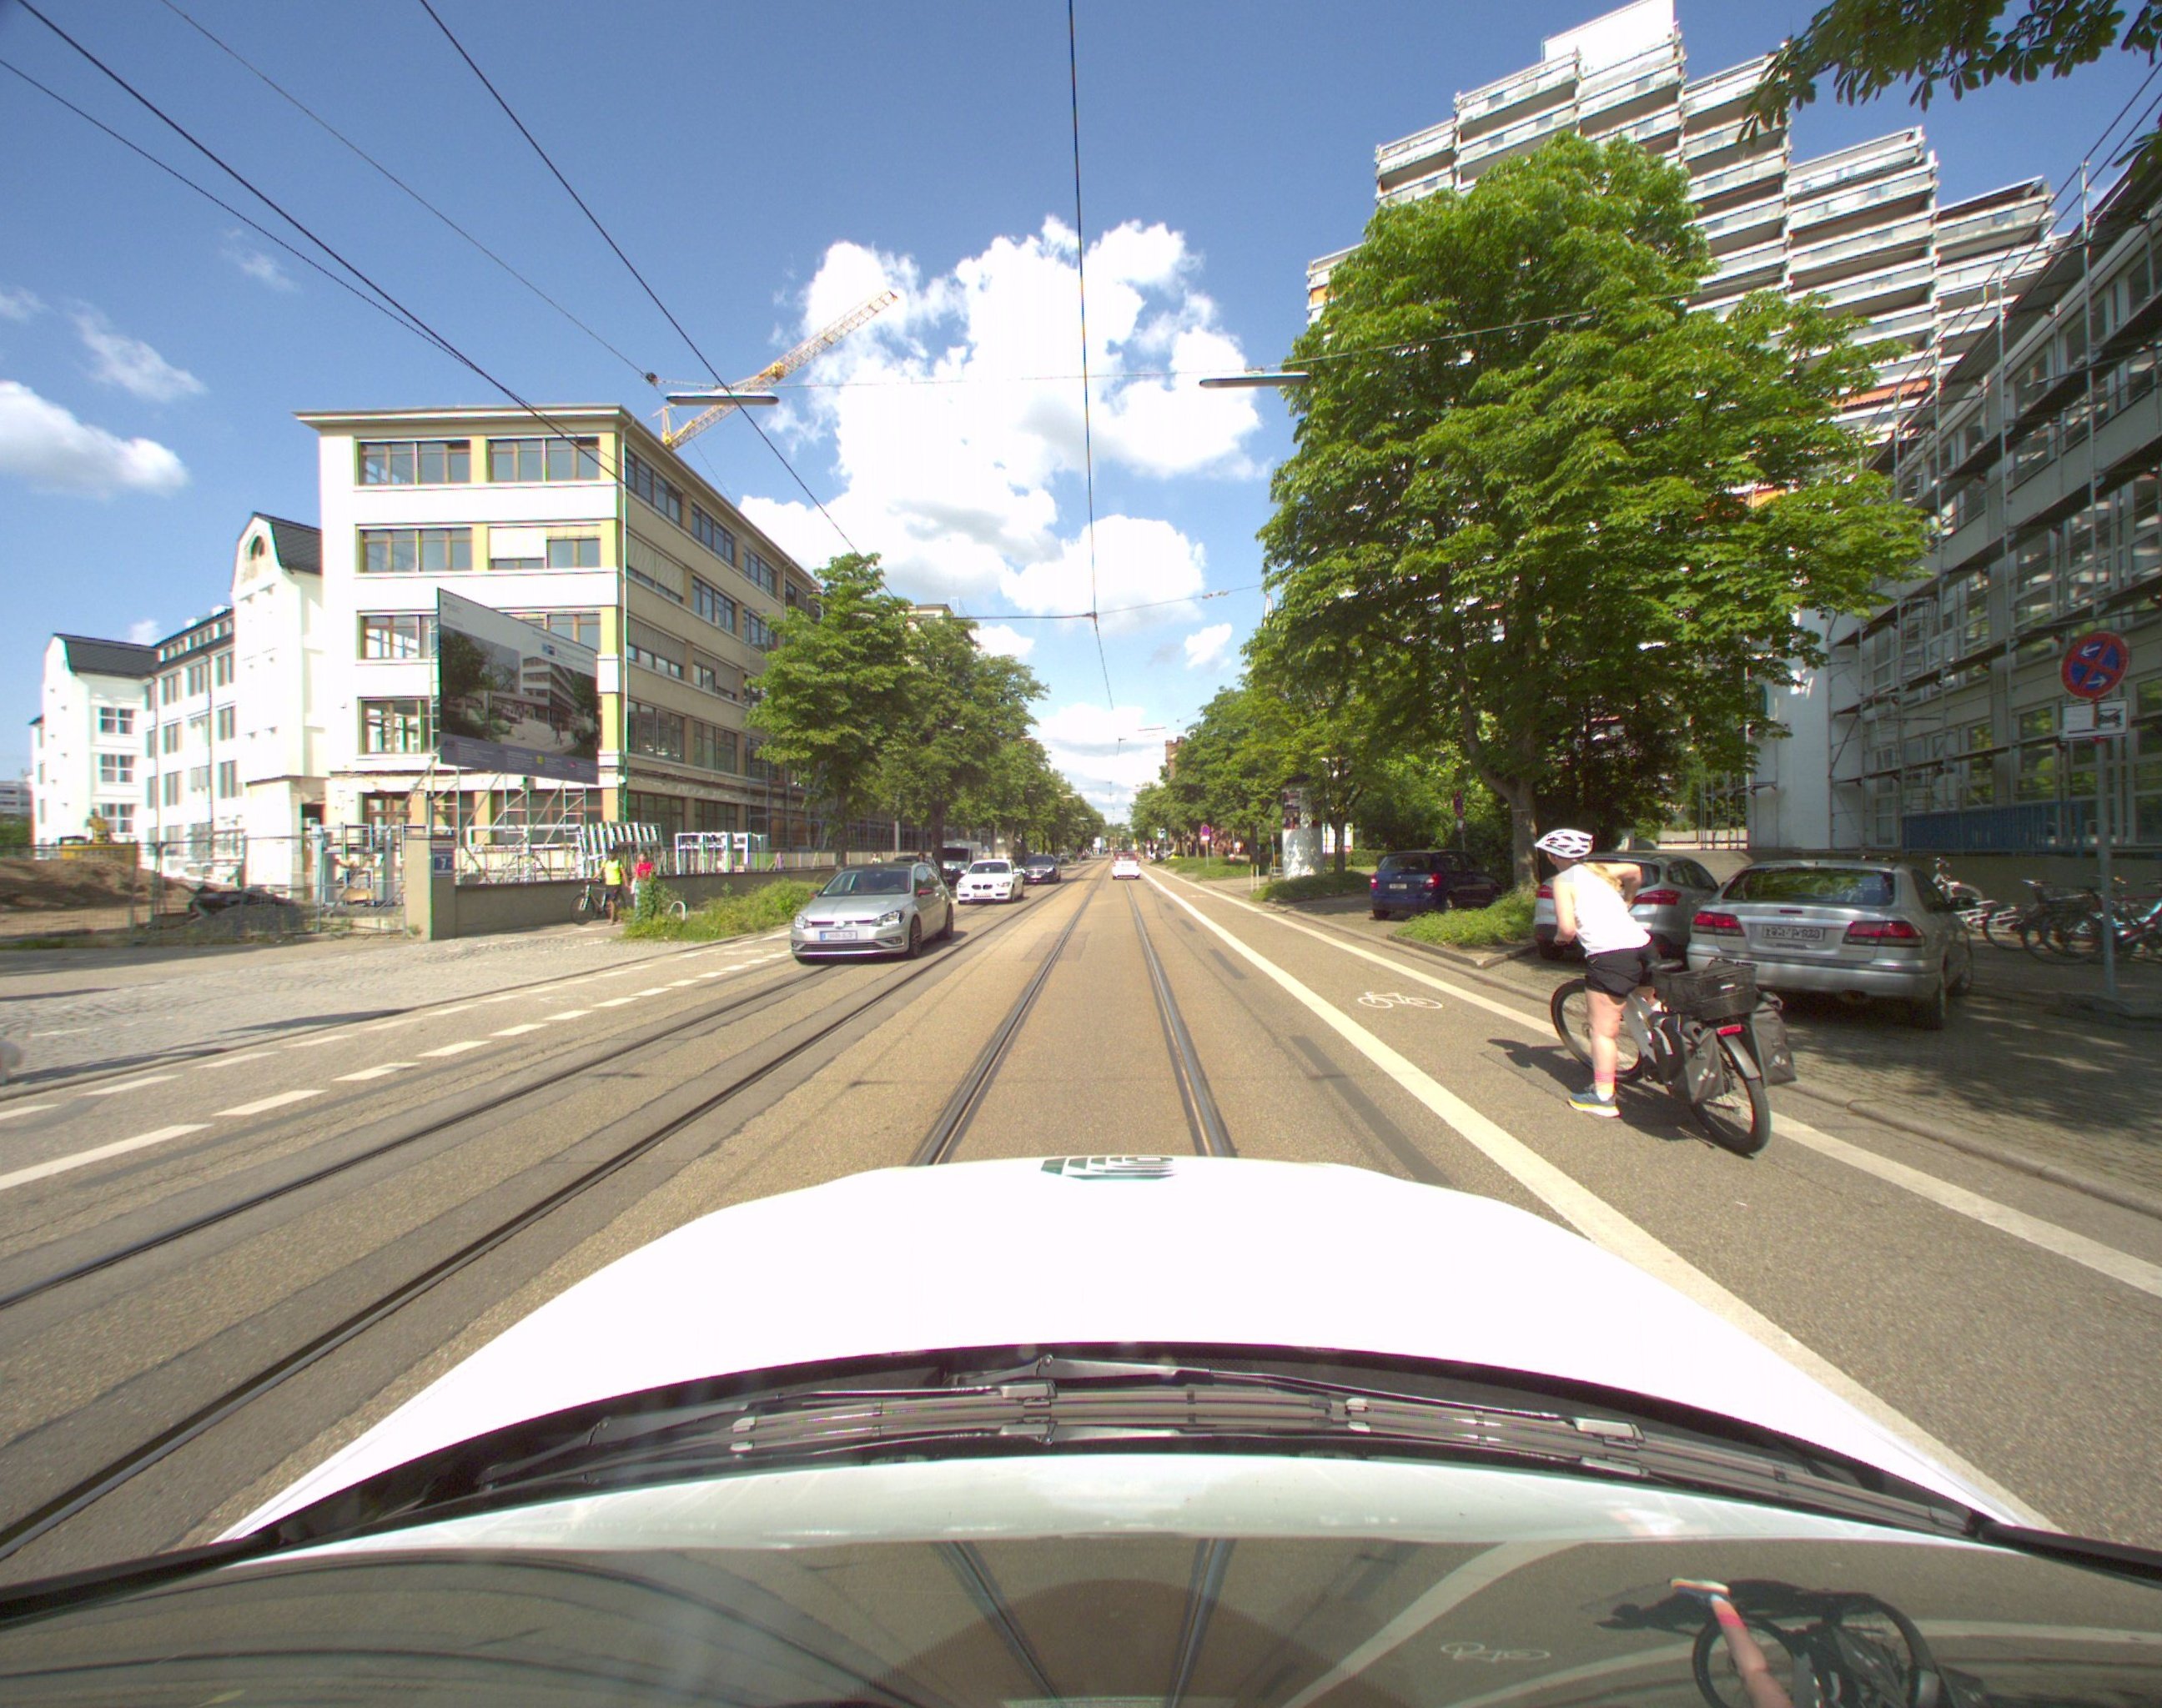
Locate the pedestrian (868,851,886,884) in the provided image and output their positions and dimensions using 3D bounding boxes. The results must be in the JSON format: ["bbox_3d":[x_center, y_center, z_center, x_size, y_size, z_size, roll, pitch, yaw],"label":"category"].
[{"bbox_3d":[-10.318,0.676,41.215,0.761,1.620,0.594,1,0,2],"label":"pedestrian"}]

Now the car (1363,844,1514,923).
[{"bbox_3d":[7.950,0.583,17.948,4.023,1.486,1.596,-2,0,-44],"label":"car"}]

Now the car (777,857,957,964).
[{"bbox_3d":[-3.265,0.787,13.224,1.767,1.416,3.853,-2,0,1],"label":"car"}]

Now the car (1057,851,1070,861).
[{"bbox_3d":[-2.873,0.330,133.968,1.797,1.516,4.105,-1,0,2],"label":"car"}]

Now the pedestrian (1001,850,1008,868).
[{"bbox_3d":[-8.317,0.532,88.675,0.802,2.013,0.484,-1,0,-7],"label":"pedestrian"}]

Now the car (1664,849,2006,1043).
[{"bbox_3d":[7.637,0.687,8.122,4.262,1.420,1.705,-1,1,-36],"label":"car"}]

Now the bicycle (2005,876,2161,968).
[{"bbox_3d":[12.736,0.816,9.921,1.877,1.053,0.454,-2,0,33],"label":"bicycle"}]

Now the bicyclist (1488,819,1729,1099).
[{"bbox_3d":[3.194,0.574,5.064,0.885,1.529,1.087,1,0,8],"label":"bicyclist"}]

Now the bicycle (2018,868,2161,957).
[{"bbox_3d":[13.603,0.745,10.532,1.877,1.096,0.454,-2,0,33],"label":"bicycle"}]

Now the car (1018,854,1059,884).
[{"bbox_3d":[-2.164,0.742,42.491,1.793,1.508,4.537,0,0,1],"label":"car"}]

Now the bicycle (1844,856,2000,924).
[{"bbox_3d":[14.593,0.625,14.192,1.809,1.095,0.454,-2,2,33],"label":"bicycle"}]

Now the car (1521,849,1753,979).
[{"bbox_3d":[7.757,0.682,11.233,3.824,1.474,1.634,0,1,-39],"label":"car"}]

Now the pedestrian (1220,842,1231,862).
[{"bbox_3d":[15.321,-0.207,86.458,0.974,2.014,1.093,1,0,1],"label":"pedestrian"}]

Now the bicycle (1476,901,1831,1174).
[{"bbox_3d":[3.196,0.914,4.887,0.870,1.126,2.141,1,0,8],"label":"bicycle"}]

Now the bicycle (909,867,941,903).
[{"bbox_3d":[-5.540,1.075,29.003,0.641,1.166,1.945,-4,0,1],"label":"bicycle"}]

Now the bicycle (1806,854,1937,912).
[{"bbox_3d":[15.722,0.554,16.252,1.809,1.095,0.454,-1,1,33],"label":"bicycle"}]

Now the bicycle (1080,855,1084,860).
[{"bbox_3d":[0.197,0.672,154.254,0.616,0.973,1.717,-1,0,1],"label":"bicycle"}]

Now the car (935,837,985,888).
[{"bbox_3d":[-6.679,0.448,45.495,1.762,2.639,5.325,1,0,2],"label":"car"}]

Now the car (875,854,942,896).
[{"bbox_3d":[-7.286,0.857,34.828,1.797,1.662,4.105,1,0,2],"label":"car"}]

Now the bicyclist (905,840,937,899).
[{"bbox_3d":[-5.637,0.541,28.748,0.873,2.014,0.834,-3,-1,1],"label":"bicyclist"}]

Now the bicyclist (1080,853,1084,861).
[{"bbox_3d":[0.174,0.538,154.144,0.656,1.579,0.946,1,0,1],"label":"bicyclist"}]

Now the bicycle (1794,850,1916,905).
[{"bbox_3d":[16.364,0.493,17.266,1.809,1.096,0.454,-1,1,33],"label":"bicycle"}]

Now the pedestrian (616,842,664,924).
[{"bbox_3d":[-10.189,0.646,18.822,0.706,1.831,0.661,2,1,-4],"label":"pedestrian"}]

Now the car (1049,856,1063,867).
[{"bbox_3d":[-3.645,1.072,120.760,1.797,1.516,4.105,1,0,2],"label":"car"}]

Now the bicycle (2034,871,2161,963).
[{"bbox_3d":[13.329,0.772,10.109,1.877,1.096,0.454,-2,0,33],"label":"bicycle"}]

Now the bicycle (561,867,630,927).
[{"bbox_3d":[-11.290,0.976,19.007,0.444,1.286,1.740,-1,0,4],"label":"bicycle"}]

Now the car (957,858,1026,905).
[{"bbox_3d":[-2.866,0.853,26.892,1.680,1.405,4.228,-1,0,2],"label":"car"}]

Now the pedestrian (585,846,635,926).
[{"bbox_3d":[-10.825,0.727,18.733,0.706,1.793,0.661,3,-1,-4],"label":"pedestrian"}]

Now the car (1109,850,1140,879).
[{"bbox_3d":[2.541,0.591,48.015,1.660,1.624,3.621,-1,0,1],"label":"car"}]

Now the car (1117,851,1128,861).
[{"bbox_3d":[6.575,0.246,130.618,1.659,1.492,3.622,-1,1,1],"label":"car"}]
